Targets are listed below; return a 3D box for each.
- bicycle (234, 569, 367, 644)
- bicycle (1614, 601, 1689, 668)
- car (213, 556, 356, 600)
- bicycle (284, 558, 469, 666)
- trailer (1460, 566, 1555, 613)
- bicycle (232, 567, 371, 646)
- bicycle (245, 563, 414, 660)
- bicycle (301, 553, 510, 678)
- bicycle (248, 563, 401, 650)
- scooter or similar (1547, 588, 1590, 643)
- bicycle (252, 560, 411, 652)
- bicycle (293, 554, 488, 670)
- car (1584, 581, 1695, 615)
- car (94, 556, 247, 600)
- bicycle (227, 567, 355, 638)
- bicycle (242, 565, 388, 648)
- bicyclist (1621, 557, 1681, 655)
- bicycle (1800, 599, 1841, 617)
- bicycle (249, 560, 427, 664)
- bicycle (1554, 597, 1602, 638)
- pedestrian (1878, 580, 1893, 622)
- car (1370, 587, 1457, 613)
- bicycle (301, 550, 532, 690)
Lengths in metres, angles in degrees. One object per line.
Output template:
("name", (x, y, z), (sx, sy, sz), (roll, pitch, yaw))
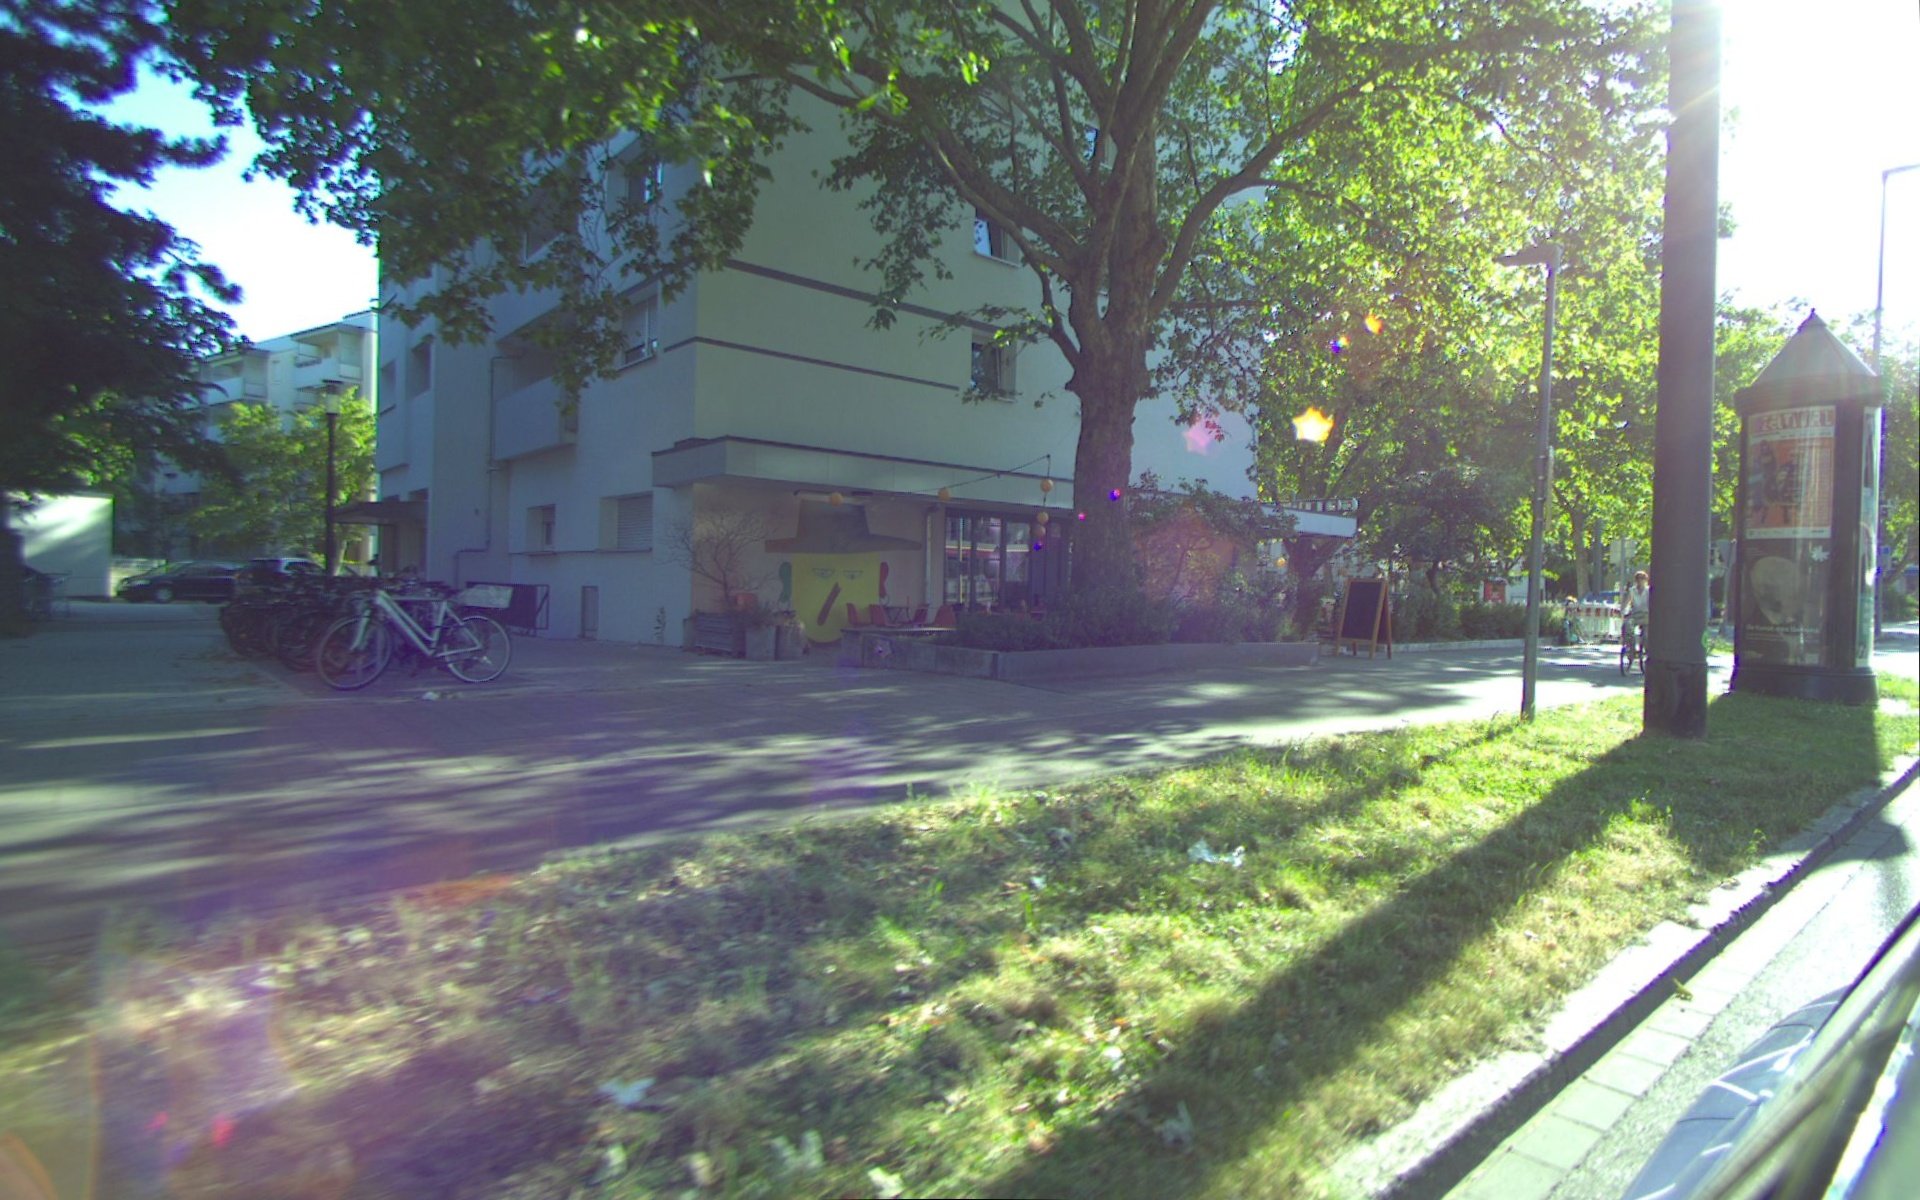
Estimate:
("bicycle", (-11.031, 0.109, 16.951), (1.788, 1.193, 0.790), (0, -1, -41))
("bicycle", (11.409, 0.539, 16.678), (1.736, 1.039, 0.604), (0, 1, -42))
("car", (-24.337, -0.764, 36.625), (1.973, 1.471, 3.977), (0, 0, 18))
("bicycle", (-6.891, 0.133, 11.998), (1.788, 1.193, 0.790), (0, -1, -41))
("trailer", (29.760, -0.584, 55.165), (4.474, 2.403, 1.895), (1, 0, 28))
("bicycle", (-10.555, 0.103, 16.257), (1.788, 1.193, 0.790), (0, -1, -41))
("bicycle", (-8.276, 0.147, 13.320), (1.788, 1.193, 0.790), (0, -1, -41))
("bicycle", (-5.753, 0.145, 10.552), (1.788, 1.193, 0.790), (0, -1, -41))
("bicycle", (-9.225, 0.087, 14.717), (1.788, 1.193, 0.790), (0, -1, -41))
("scooter or similar", (14.815, 0.354, 24.626), (1.269, 1.273, 0.561), (-1, 2, -45))
("bicycle", (-8.704, 0.084, 14.052), (1.788, 1.193, 0.790), (0, -1, -41))
("bicycle", (-6.335, 0.126, 11.308), (1.788, 1.193, 0.790), (0, -1, -41))
("car", (34.959, -0.072, 52.244), (4.537, 1.661, 1.917), (-1, -1, 28))
("car", (-28.428, -0.740, 36.599), (1.973, 1.471, 3.977), (0, 0, 18))
("bicycle", (-11.743, 0.045, 17.786), (1.788, 1.193, 0.790), (0, -1, -41))
("bicycle", (-9.856, 0.095, 15.496), (1.788, 1.193, 0.790), (0, -1, -41))
("bicyclist", (11.335, 0.086, 16.603), (0.845, 1.570, 0.604), (0, 1, -42))
("bicycle", (51.837, 0.453, 60.968), (1.804, 1.067, 0.530), (0, 0, 24))
("bicycle", (-7.697, 0.140, 12.563), (1.788, 1.193, 0.790), (0, -1, -41))
("bicycle", (16.375, 0.453, 26.842), (0.597, 1.039, 1.942), (2, 0, 17))
("pedestrian", (36.884, 0.035, 40.323), (0.427, 1.660, 0.604), (0, -1, 42))
("car", (25.601, 0.019, 57.189), (4.396, 1.378, 1.917), (-1, -1, 28))
("bicycle", (-5.052, 0.172, 9.472), (1.788, 1.193, 0.790), (0, -1, -41))
